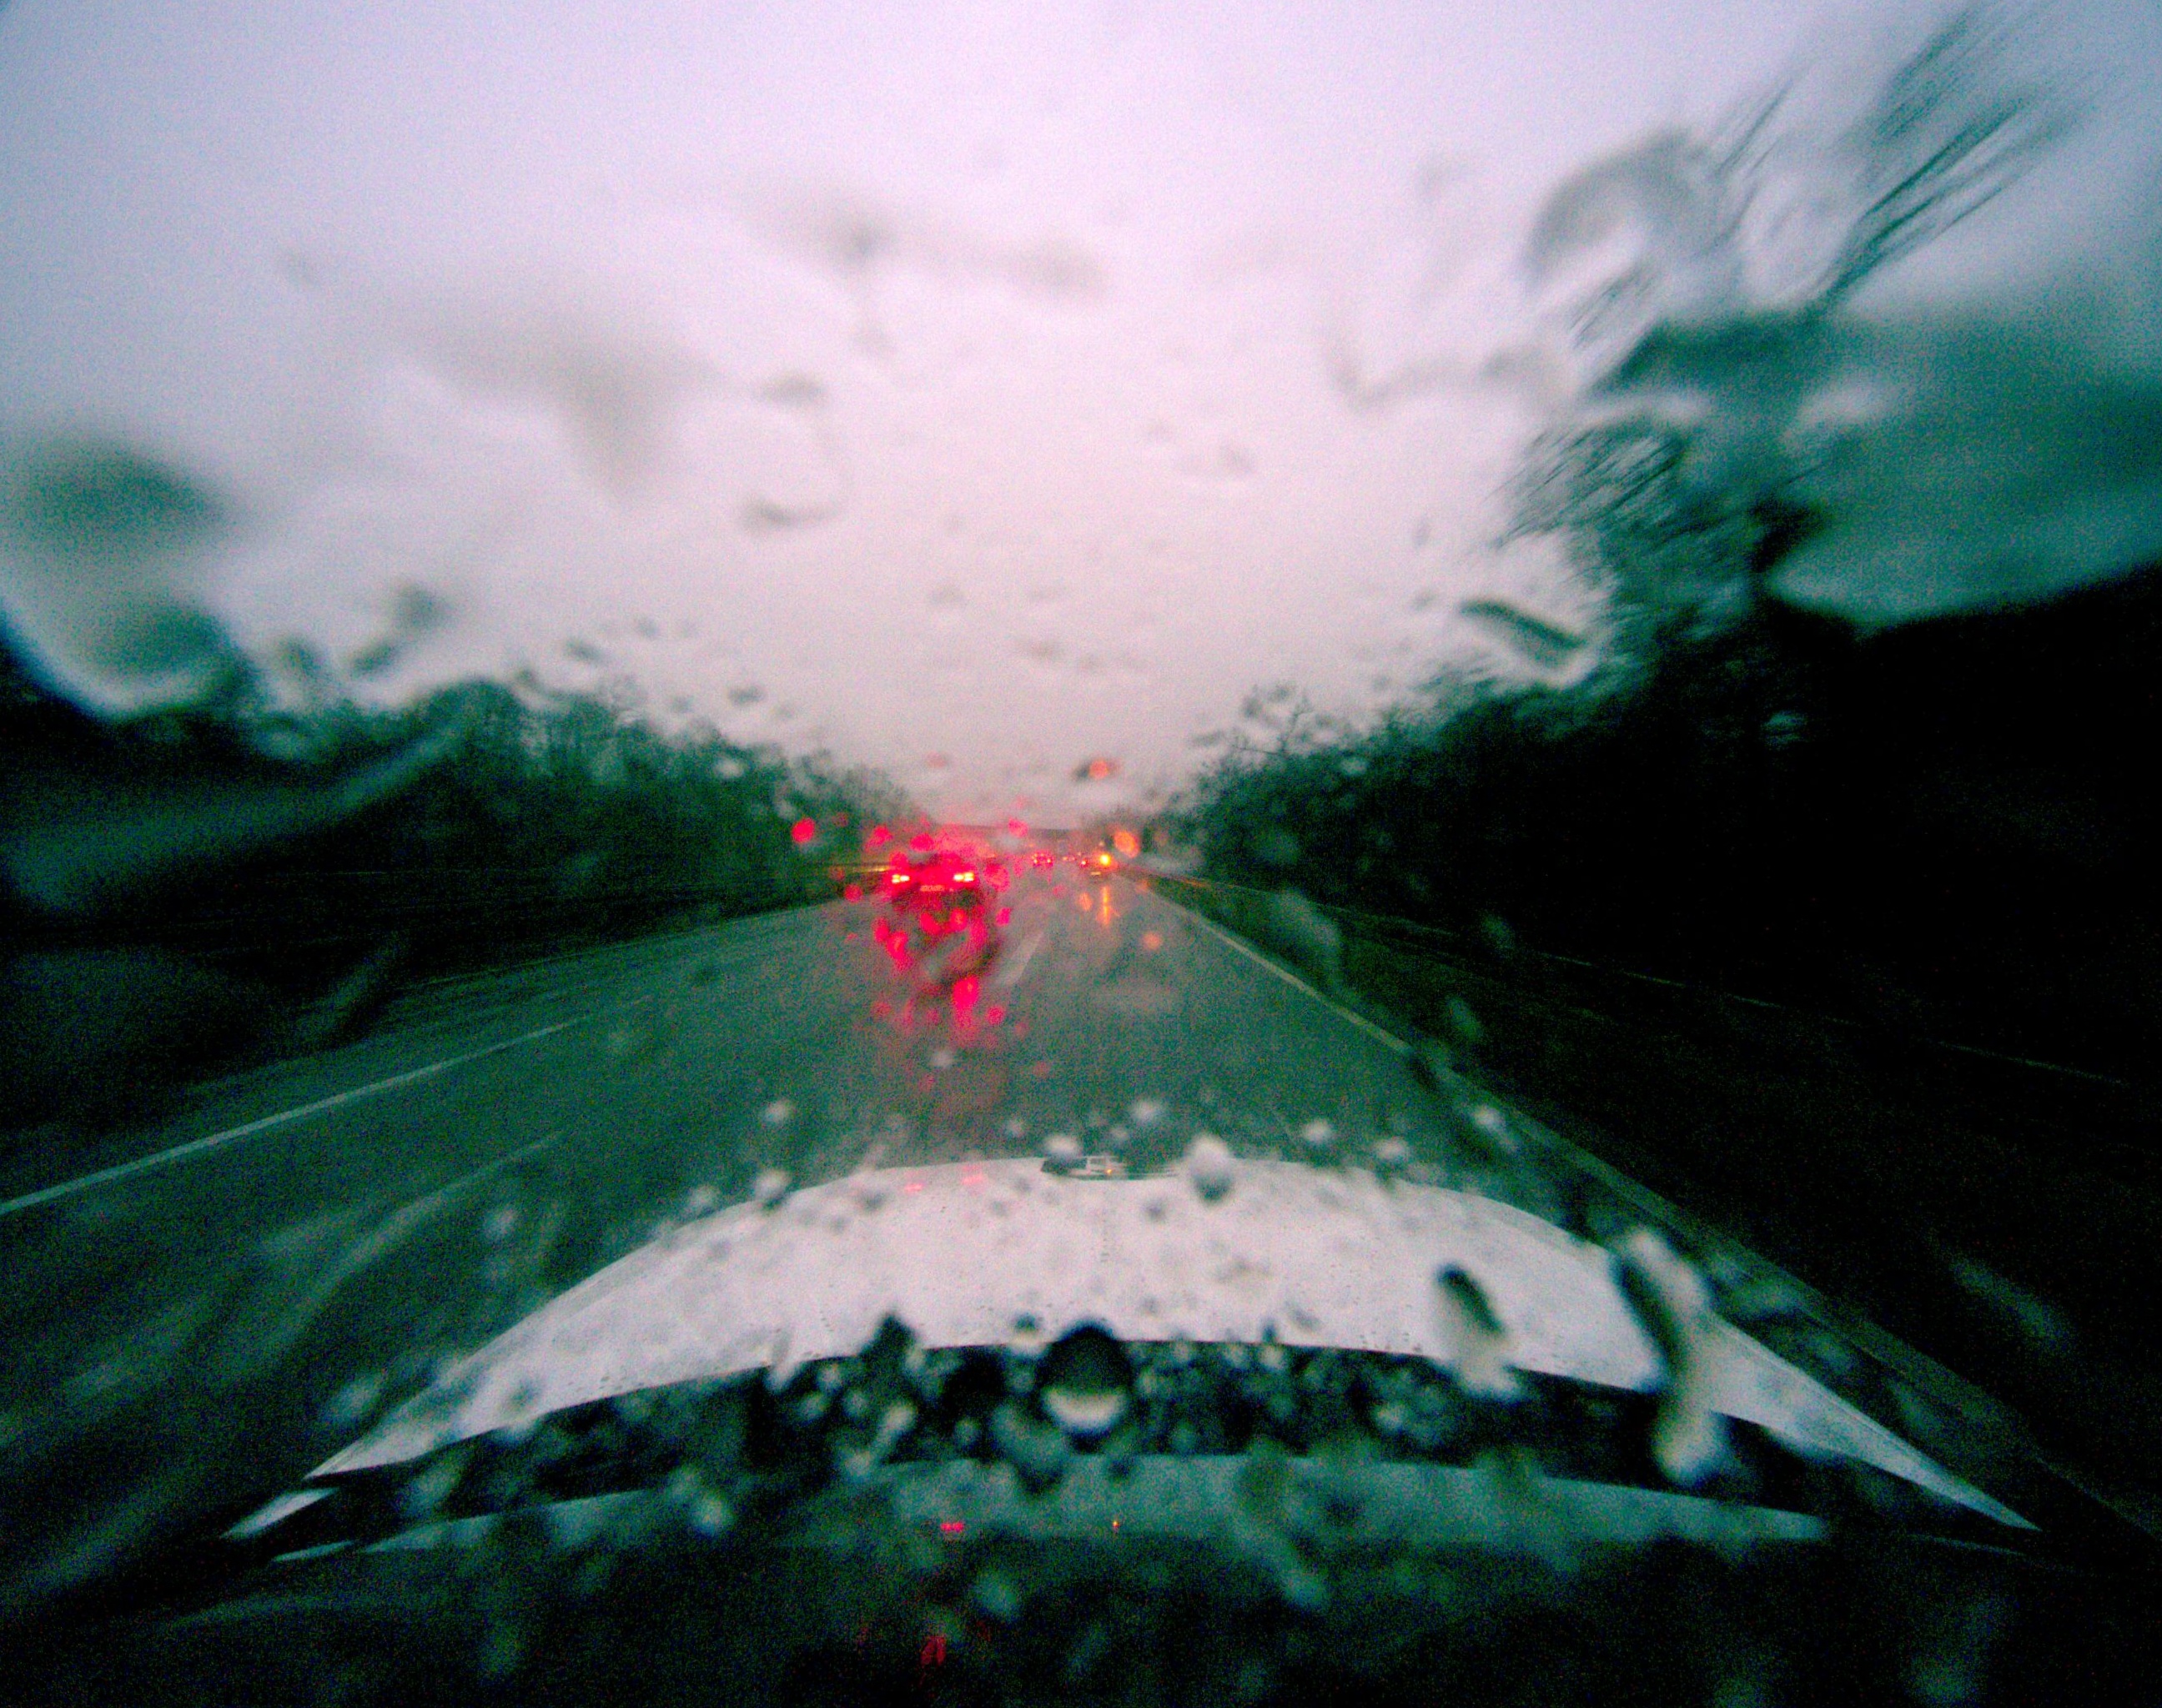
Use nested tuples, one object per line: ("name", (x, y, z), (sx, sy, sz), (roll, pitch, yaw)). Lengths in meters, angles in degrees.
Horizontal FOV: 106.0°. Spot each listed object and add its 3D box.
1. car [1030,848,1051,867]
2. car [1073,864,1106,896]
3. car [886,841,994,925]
("car", (-3.673, 0.312, 74.049), (1.874, 1.617, 3.871), (1, 1, -3))
("car", (0.479, 1.400, 44.648), (1.726, 1.428, 3.767), (-1, 3, 0))
("car", (-3.077, 0.591, 18.561), (1.990, 1.665, 3.994), (-1, 0, -4))
